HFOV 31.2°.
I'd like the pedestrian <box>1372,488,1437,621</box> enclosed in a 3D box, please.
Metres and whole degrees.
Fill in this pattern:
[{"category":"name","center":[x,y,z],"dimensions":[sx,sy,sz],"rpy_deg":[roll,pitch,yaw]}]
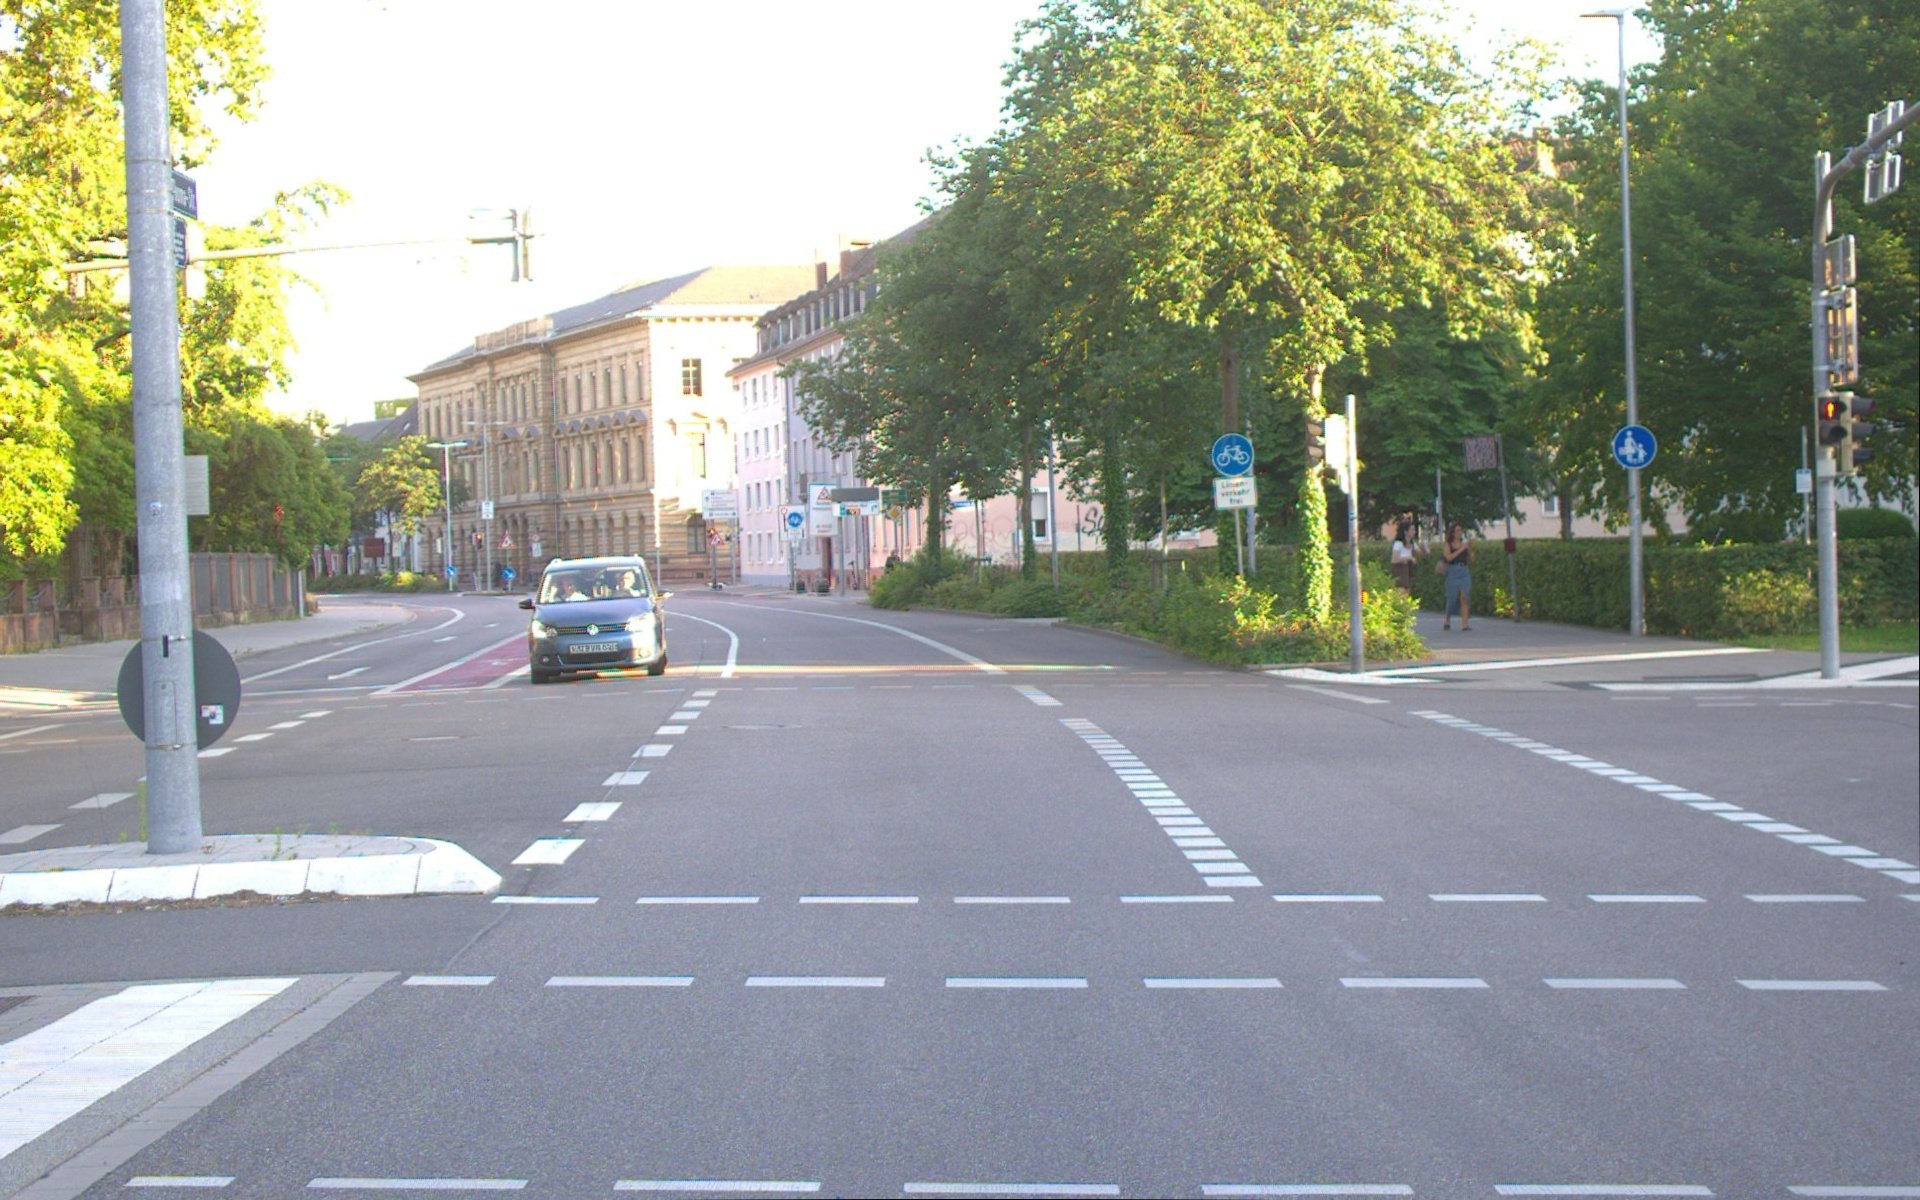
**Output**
[{"category":"pedestrian","center":[6.799,-0.698,52.601],"dimensions":[0.870,2.007,0.722],"rpy_deg":[0,1,-1]}]

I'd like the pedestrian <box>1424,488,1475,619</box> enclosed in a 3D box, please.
[{"category":"pedestrian","center":[7.556,-0.722,53.080],"dimensions":[0.635,2.007,0.720],"rpy_deg":[-1,1,-4]}]

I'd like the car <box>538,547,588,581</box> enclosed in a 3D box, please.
[{"category":"car","center":[-19.612,-1.797,169.733],"dimensions":[1.819,1.583,4.001],"rpy_deg":[-3,1,-14]}]

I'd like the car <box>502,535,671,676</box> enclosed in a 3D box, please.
[{"category":"car","center":[-5.018,0.041,46.723],"dimensions":[1.849,1.714,4.296],"rpy_deg":[-3,1,-2]}]
